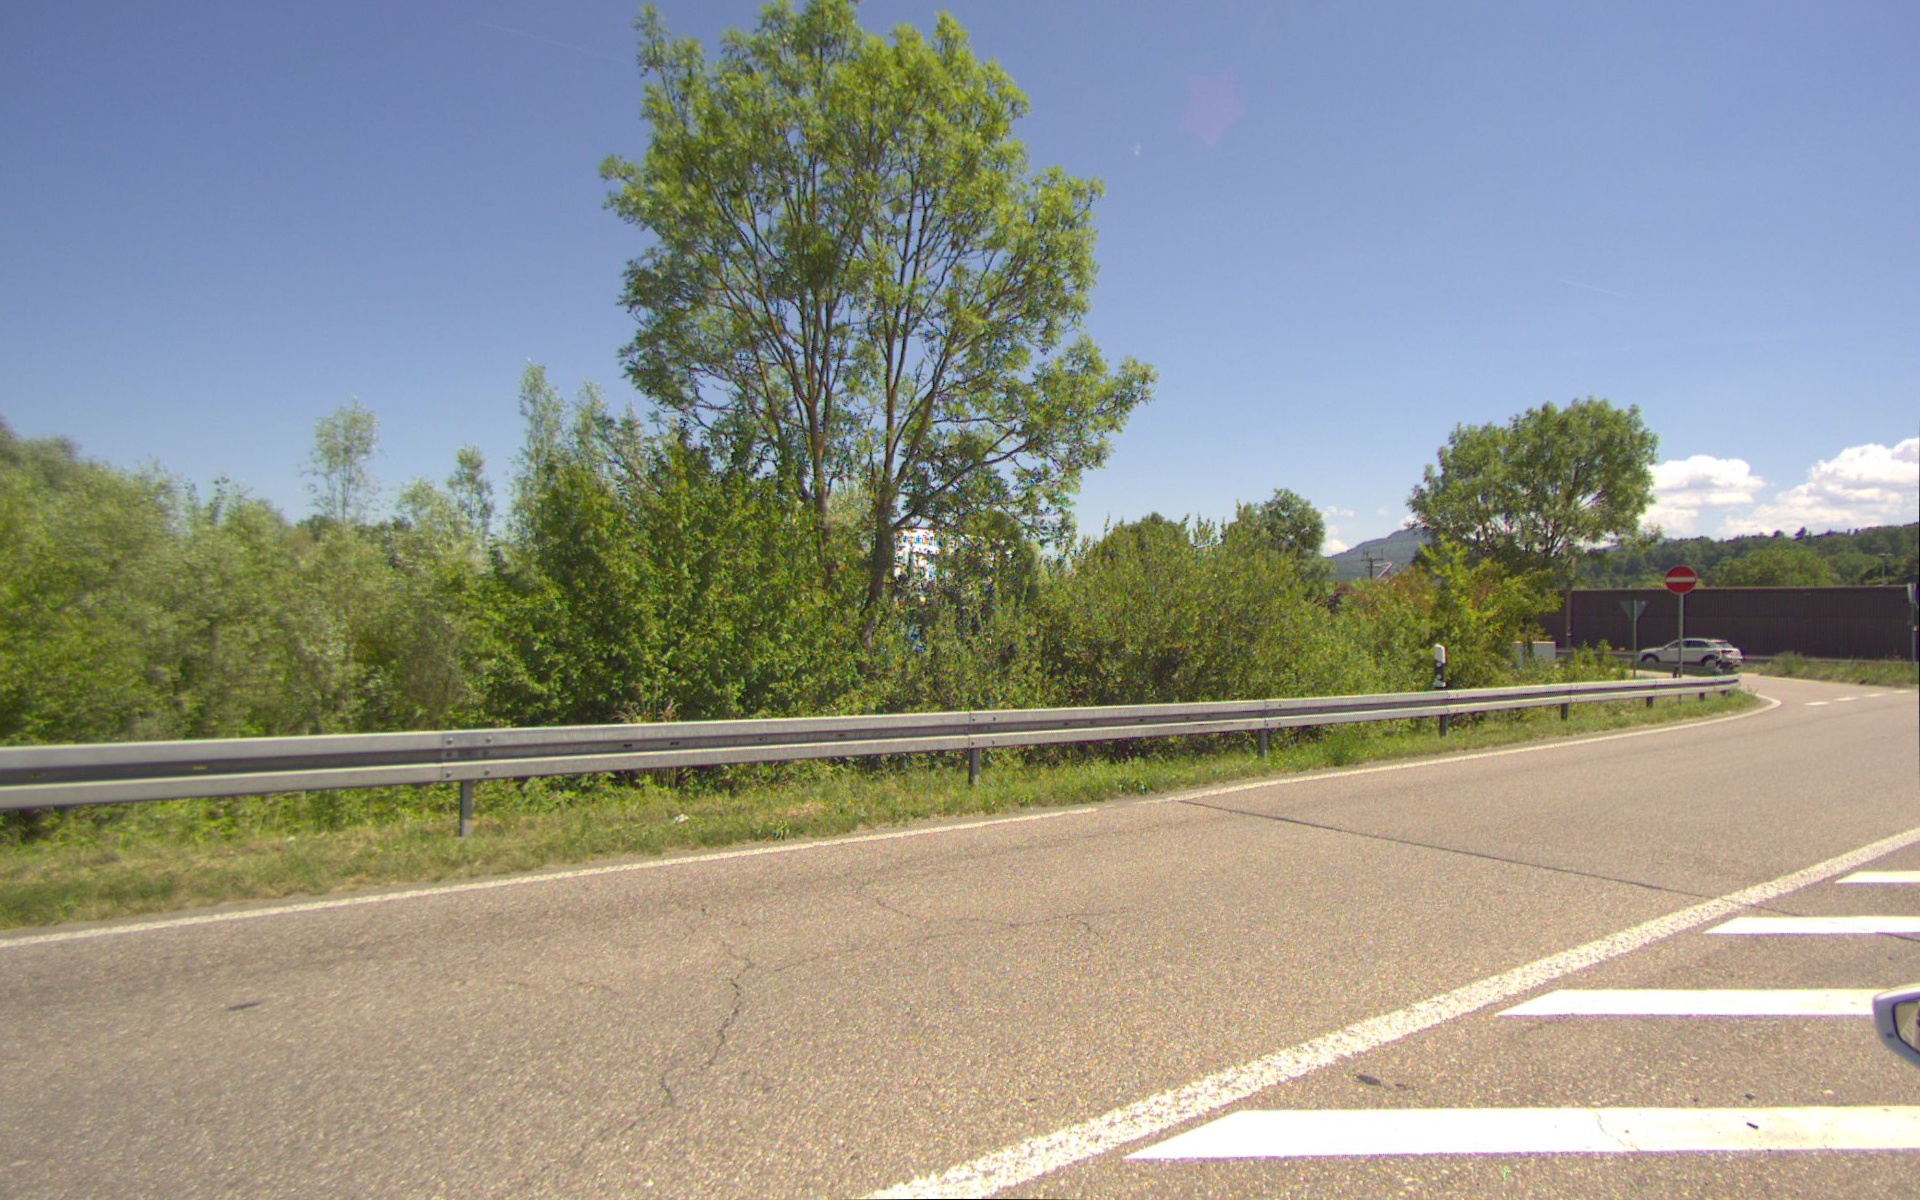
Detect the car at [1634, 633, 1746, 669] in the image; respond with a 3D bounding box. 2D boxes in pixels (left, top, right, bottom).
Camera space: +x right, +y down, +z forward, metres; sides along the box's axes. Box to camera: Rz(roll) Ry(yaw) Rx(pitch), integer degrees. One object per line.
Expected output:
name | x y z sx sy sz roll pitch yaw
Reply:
car | 35.724 2.481 49.241 1.978 1.505 3.964 2 -1 -32
